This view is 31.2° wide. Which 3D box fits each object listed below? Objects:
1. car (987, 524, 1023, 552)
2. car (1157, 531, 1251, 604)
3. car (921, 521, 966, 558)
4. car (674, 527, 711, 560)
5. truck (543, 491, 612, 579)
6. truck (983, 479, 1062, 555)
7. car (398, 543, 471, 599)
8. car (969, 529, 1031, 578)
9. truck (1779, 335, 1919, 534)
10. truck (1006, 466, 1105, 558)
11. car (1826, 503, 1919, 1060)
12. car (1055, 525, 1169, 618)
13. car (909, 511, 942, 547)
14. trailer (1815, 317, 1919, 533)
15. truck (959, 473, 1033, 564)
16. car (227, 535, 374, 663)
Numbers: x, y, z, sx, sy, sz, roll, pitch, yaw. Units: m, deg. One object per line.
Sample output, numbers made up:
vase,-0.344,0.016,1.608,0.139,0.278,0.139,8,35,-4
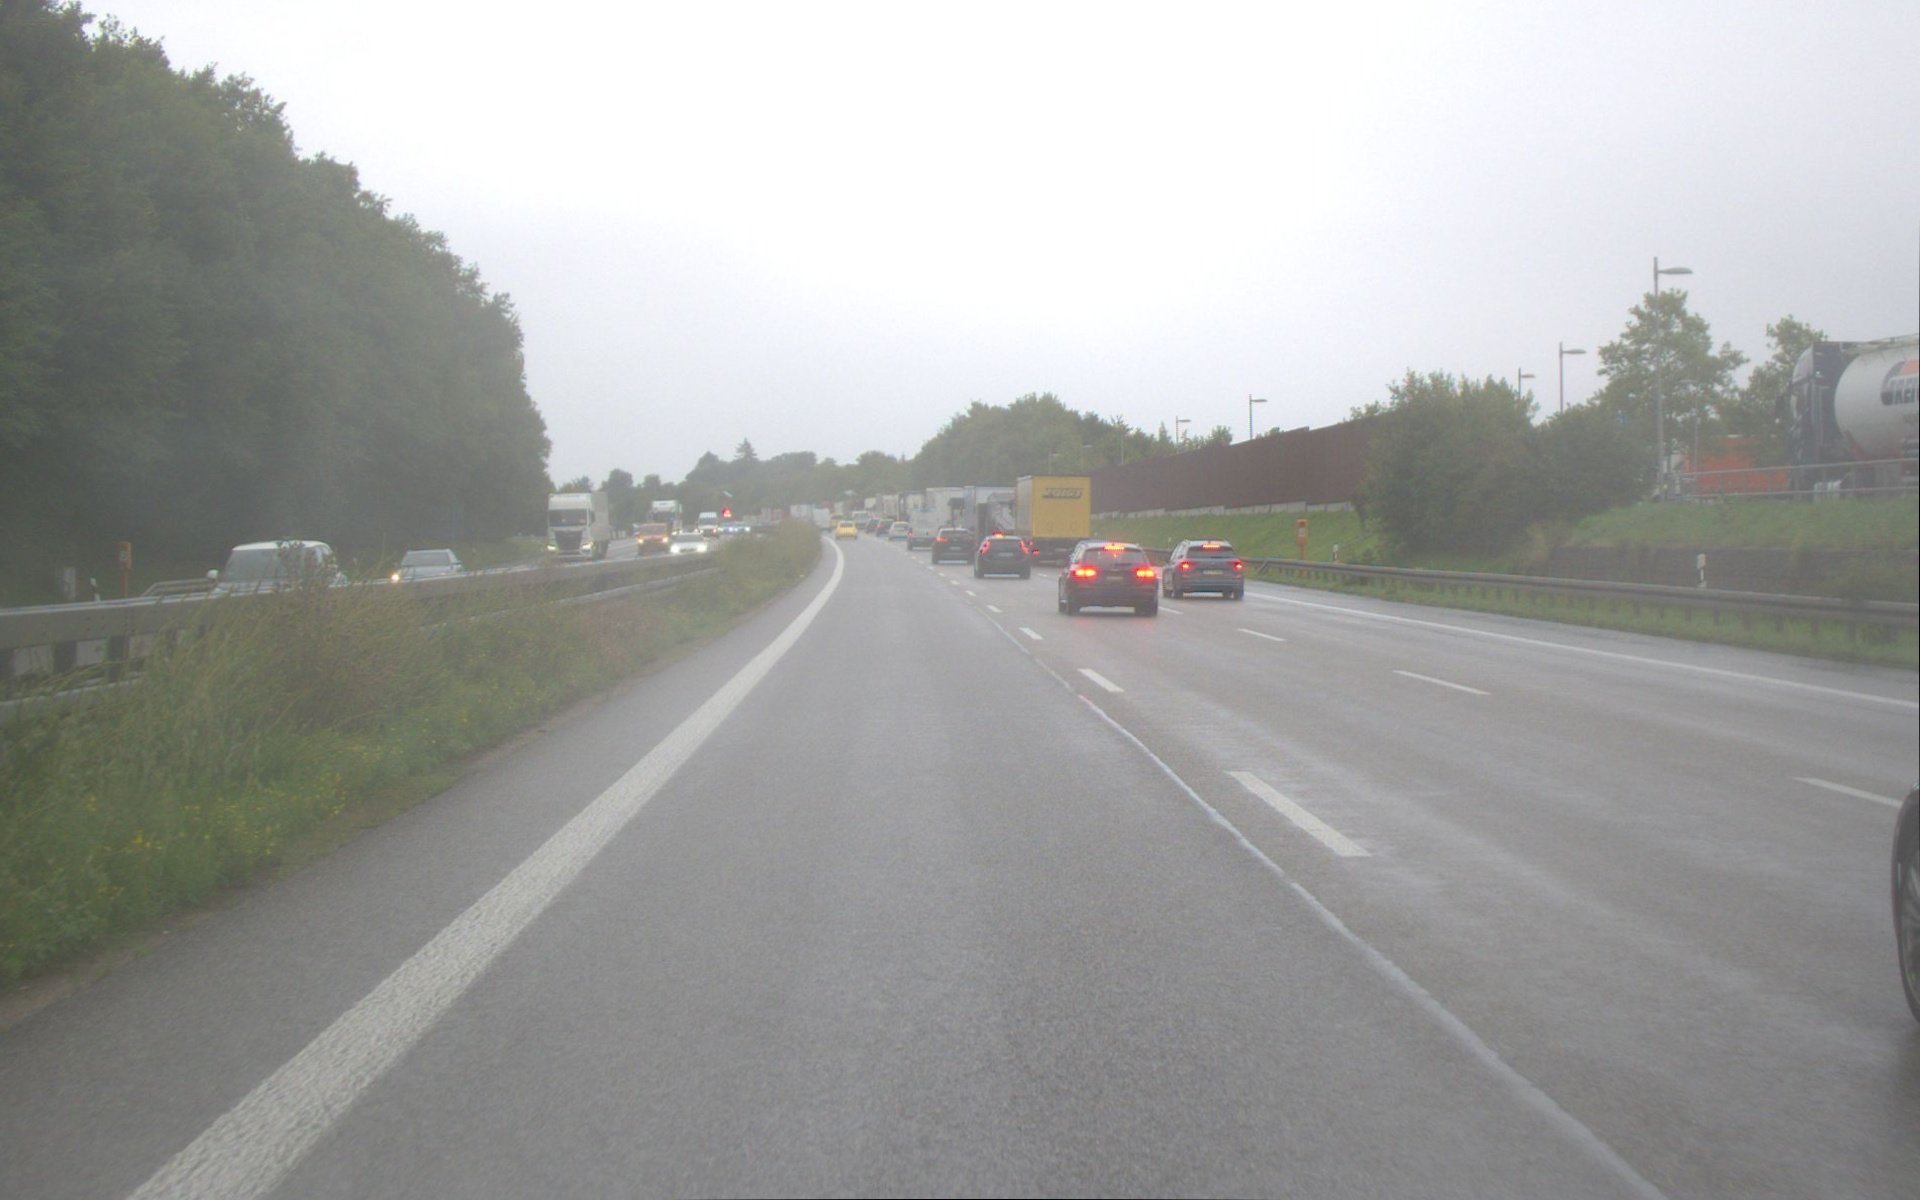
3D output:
car,2.642,-3.663,202.424,1.993,1.623,4.000,-1,1,-1
car,6.104,-0.836,86.370,1.993,1.755,4.000,-1,1,-1
car,-0.756,-2.756,156.735,1.993,1.623,4.000,-1,1,-1
car,-13.262,-2.821,170.692,1.603,1.578,3.572,-1,1,-1
truck,-22.126,-3.762,199.521,2.990,4.919,9.483,-1,1,-1
truck,3.368,-4.514,189.078,3.924,3.968,12.240,-1,1,-1
car,-15.237,-0.850,99.769,1.603,1.547,3.572,-1,1,-1
car,1.367,-1.603,118.701,1.993,1.623,4.000,-1,1,-1
truck,19.828,-3.519,74.373,2.949,4.131,4.922,-1,1,0
truck,4.263,-3.968,156.325,3.924,3.968,12.240,-1,1,-1
car,3.927,0.570,8.578,2.057,1.665,5.522,1,0,-1
car,2.969,-0.583,67.973,1.993,1.755,4.000,-1,1,-1
car,-2.174,-4.449,215.667,1.993,2.197,4.000,-1,1,-1
trailer,19.927,-3.408,67.145,2.985,4.142,12.957,-1,1,-1
truck,2.224,-5.147,217.965,4.287,5.549,12.240,-1,1,-1
car,-10.168,-0.046,53.233,1.603,1.878,3.572,-1,1,-1
